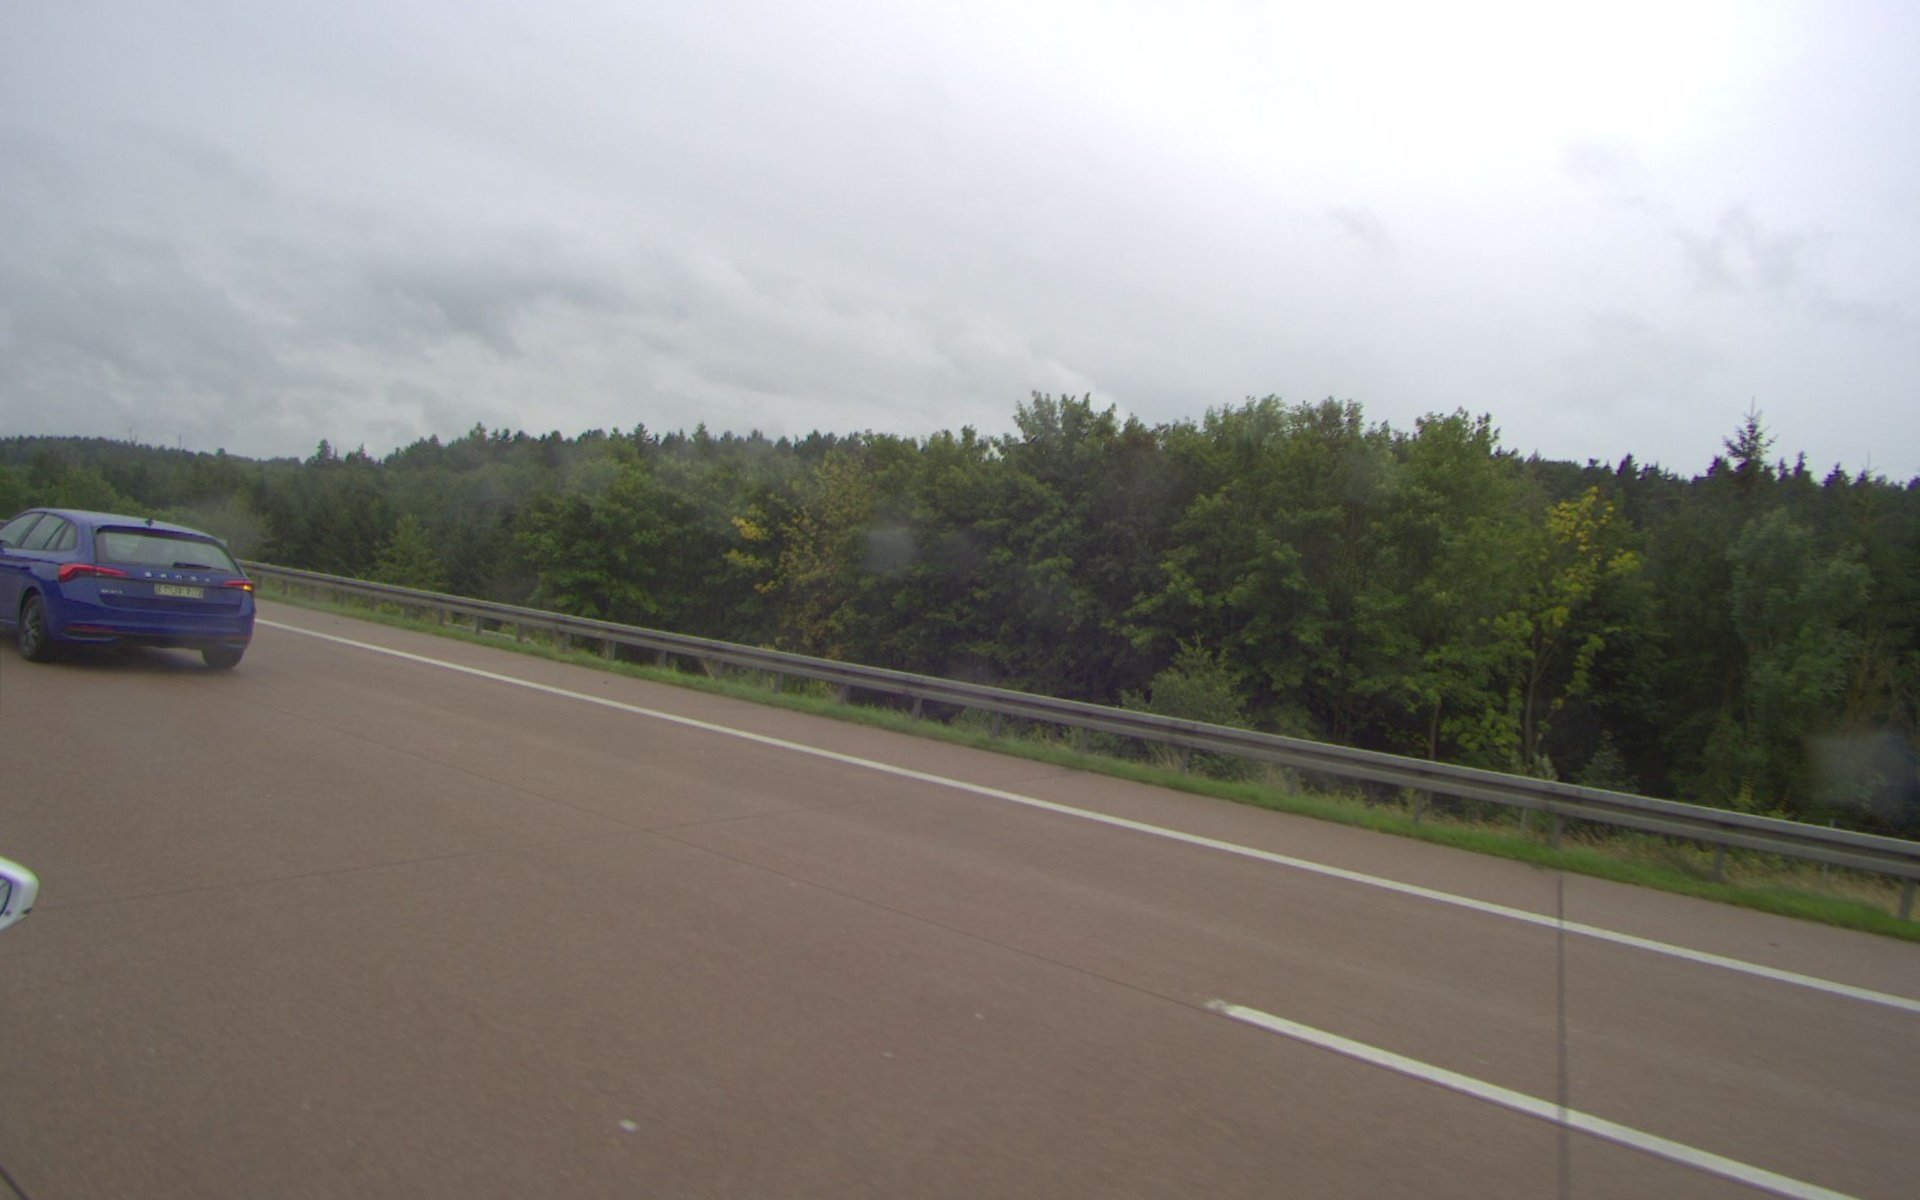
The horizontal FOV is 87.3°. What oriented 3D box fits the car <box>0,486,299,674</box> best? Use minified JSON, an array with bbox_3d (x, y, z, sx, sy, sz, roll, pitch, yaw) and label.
[{"bbox_3d":[-9.140,-0.262,10.777,4.079,1.582,1.774,5,-3,32],"label":"car"}]
